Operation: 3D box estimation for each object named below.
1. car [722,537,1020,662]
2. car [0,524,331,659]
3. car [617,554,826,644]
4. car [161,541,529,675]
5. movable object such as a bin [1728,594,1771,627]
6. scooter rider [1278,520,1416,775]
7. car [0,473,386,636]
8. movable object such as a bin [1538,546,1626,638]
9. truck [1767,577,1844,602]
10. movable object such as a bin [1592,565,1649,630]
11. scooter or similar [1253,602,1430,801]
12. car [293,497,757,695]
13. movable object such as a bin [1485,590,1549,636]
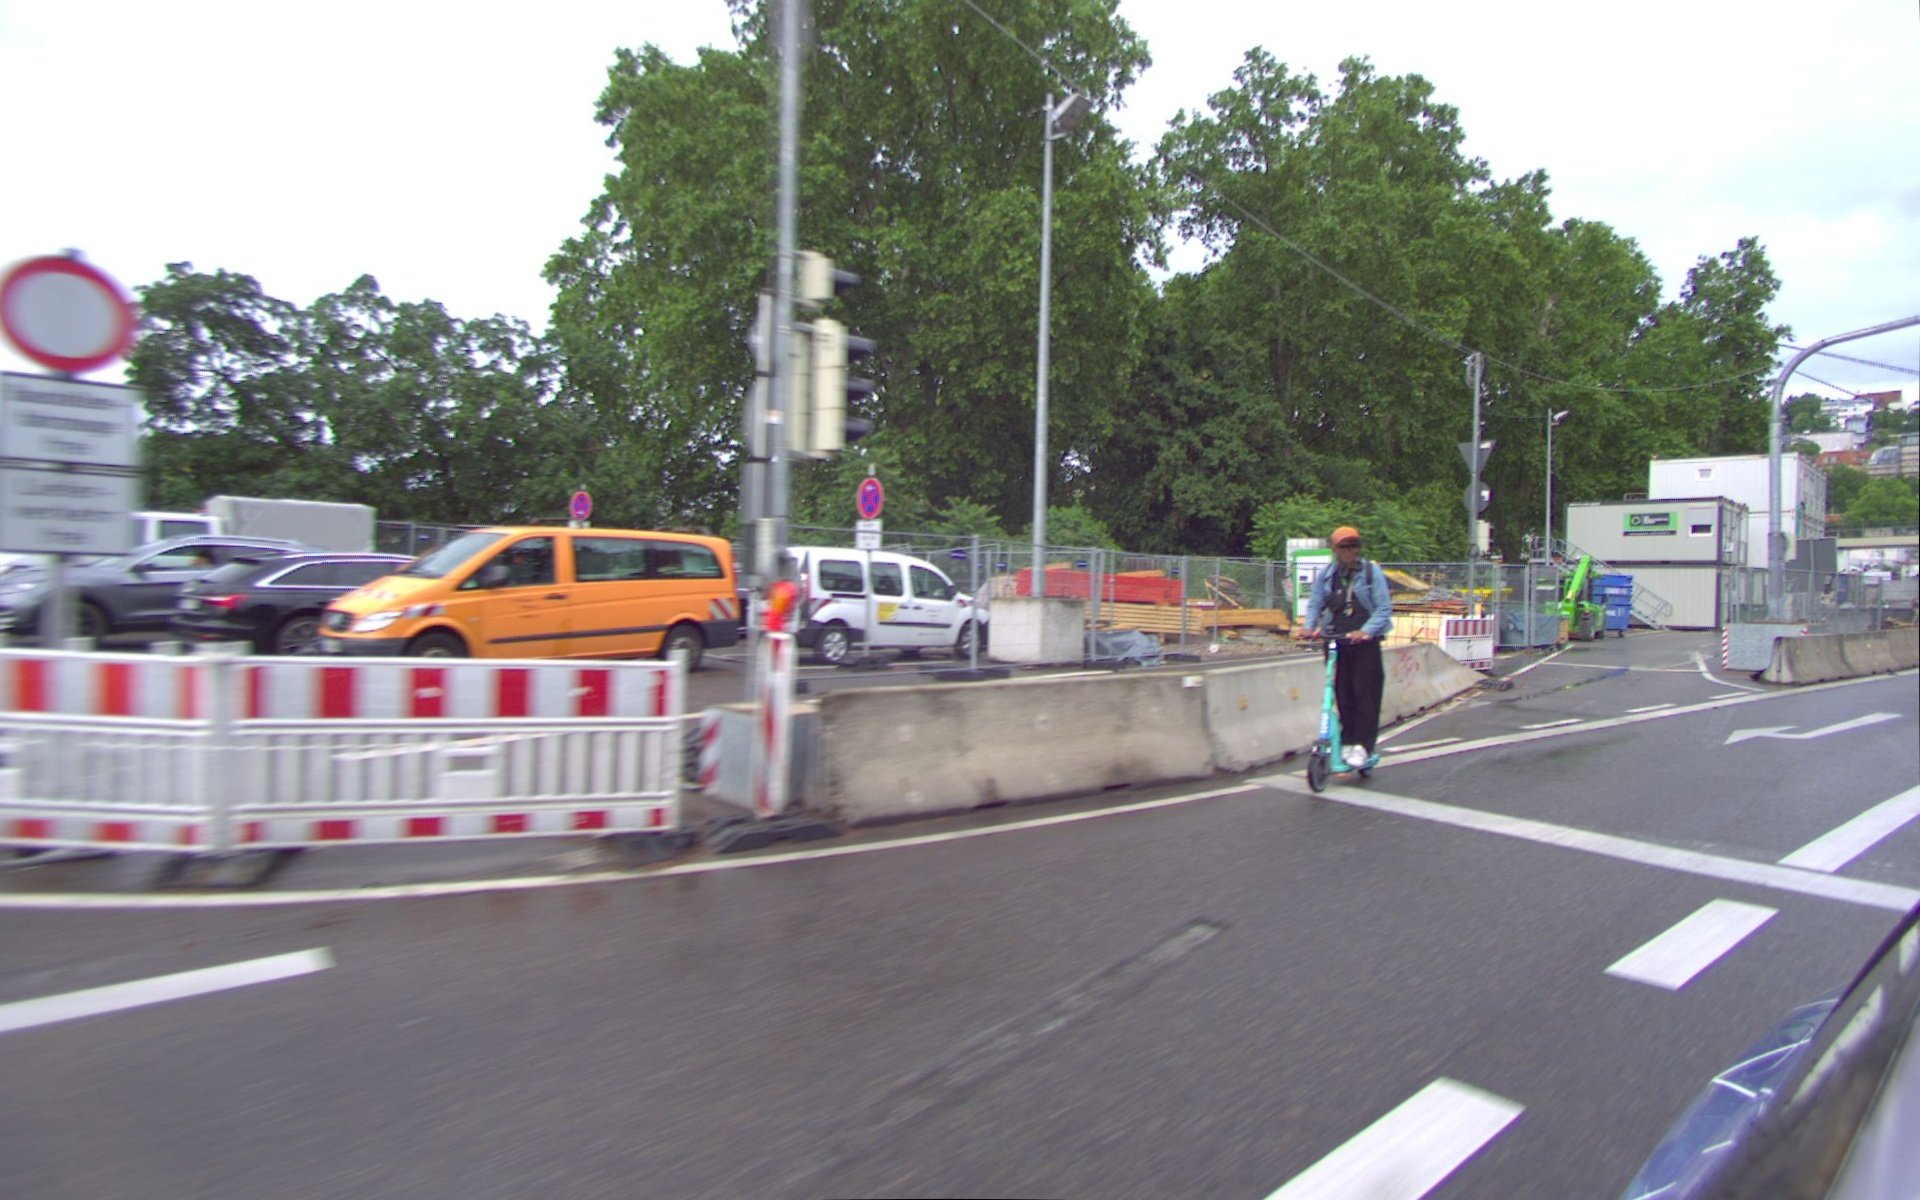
[{"bbox_3d":[-1.362,0.008,17.262,5.001,1.829,1.848,1,0,-44],"label":"car"},{"bbox_3d":[-11.627,-0.246,14.639,1.938,1.638,3.879,5,6,40],"label":"car"},{"bbox_3d":[-4.895,-0.117,21.144,1.760,1.577,3.939,5,6,43],"label":"car"},{"bbox_3d":[-8.158,-0.029,13.735,1.908,1.468,3.862,5,5,36],"label":"car"},{"bbox_3d":[34.237,0.441,43.869,1.219,1.251,1.248,-3,6,-44],"label":"movable object such as a bin"},{"bbox_3d":[2.965,0.322,7.732,0.980,1.808,0.598,0,1,-44],"label":"scooter rider"},{"bbox_3d":[-13.056,-0.761,17.050,2.042,2.341,5.526,4,4,39],"label":"car"},{"bbox_3d":[20.460,-0.258,33.236,1.805,2.845,3.808,2,0,41],"label":"movable object such as a bin"},{"bbox_3d":[75.215,-0.972,90.112,5.150,2.038,2.374,3,5,41],"label":"truck"},{"bbox_3d":[23.424,-0.103,35.940,1.445,2.231,1.255,2,0,24],"label":"movable object such as a bin"},{"bbox_3d":[2.943,0.699,7.728,1.639,1.335,0.598,-1,2,-44],"label":"scooter or similar"},{"bbox_3d":[-5.218,-0.097,12.802,1.910,1.999,5.086,2,2,41],"label":"car"},{"bbox_3d":[17.106,0.382,31.111,1.238,1.361,1.182,2,0,-24],"label":"movable object such as a bin"}]
